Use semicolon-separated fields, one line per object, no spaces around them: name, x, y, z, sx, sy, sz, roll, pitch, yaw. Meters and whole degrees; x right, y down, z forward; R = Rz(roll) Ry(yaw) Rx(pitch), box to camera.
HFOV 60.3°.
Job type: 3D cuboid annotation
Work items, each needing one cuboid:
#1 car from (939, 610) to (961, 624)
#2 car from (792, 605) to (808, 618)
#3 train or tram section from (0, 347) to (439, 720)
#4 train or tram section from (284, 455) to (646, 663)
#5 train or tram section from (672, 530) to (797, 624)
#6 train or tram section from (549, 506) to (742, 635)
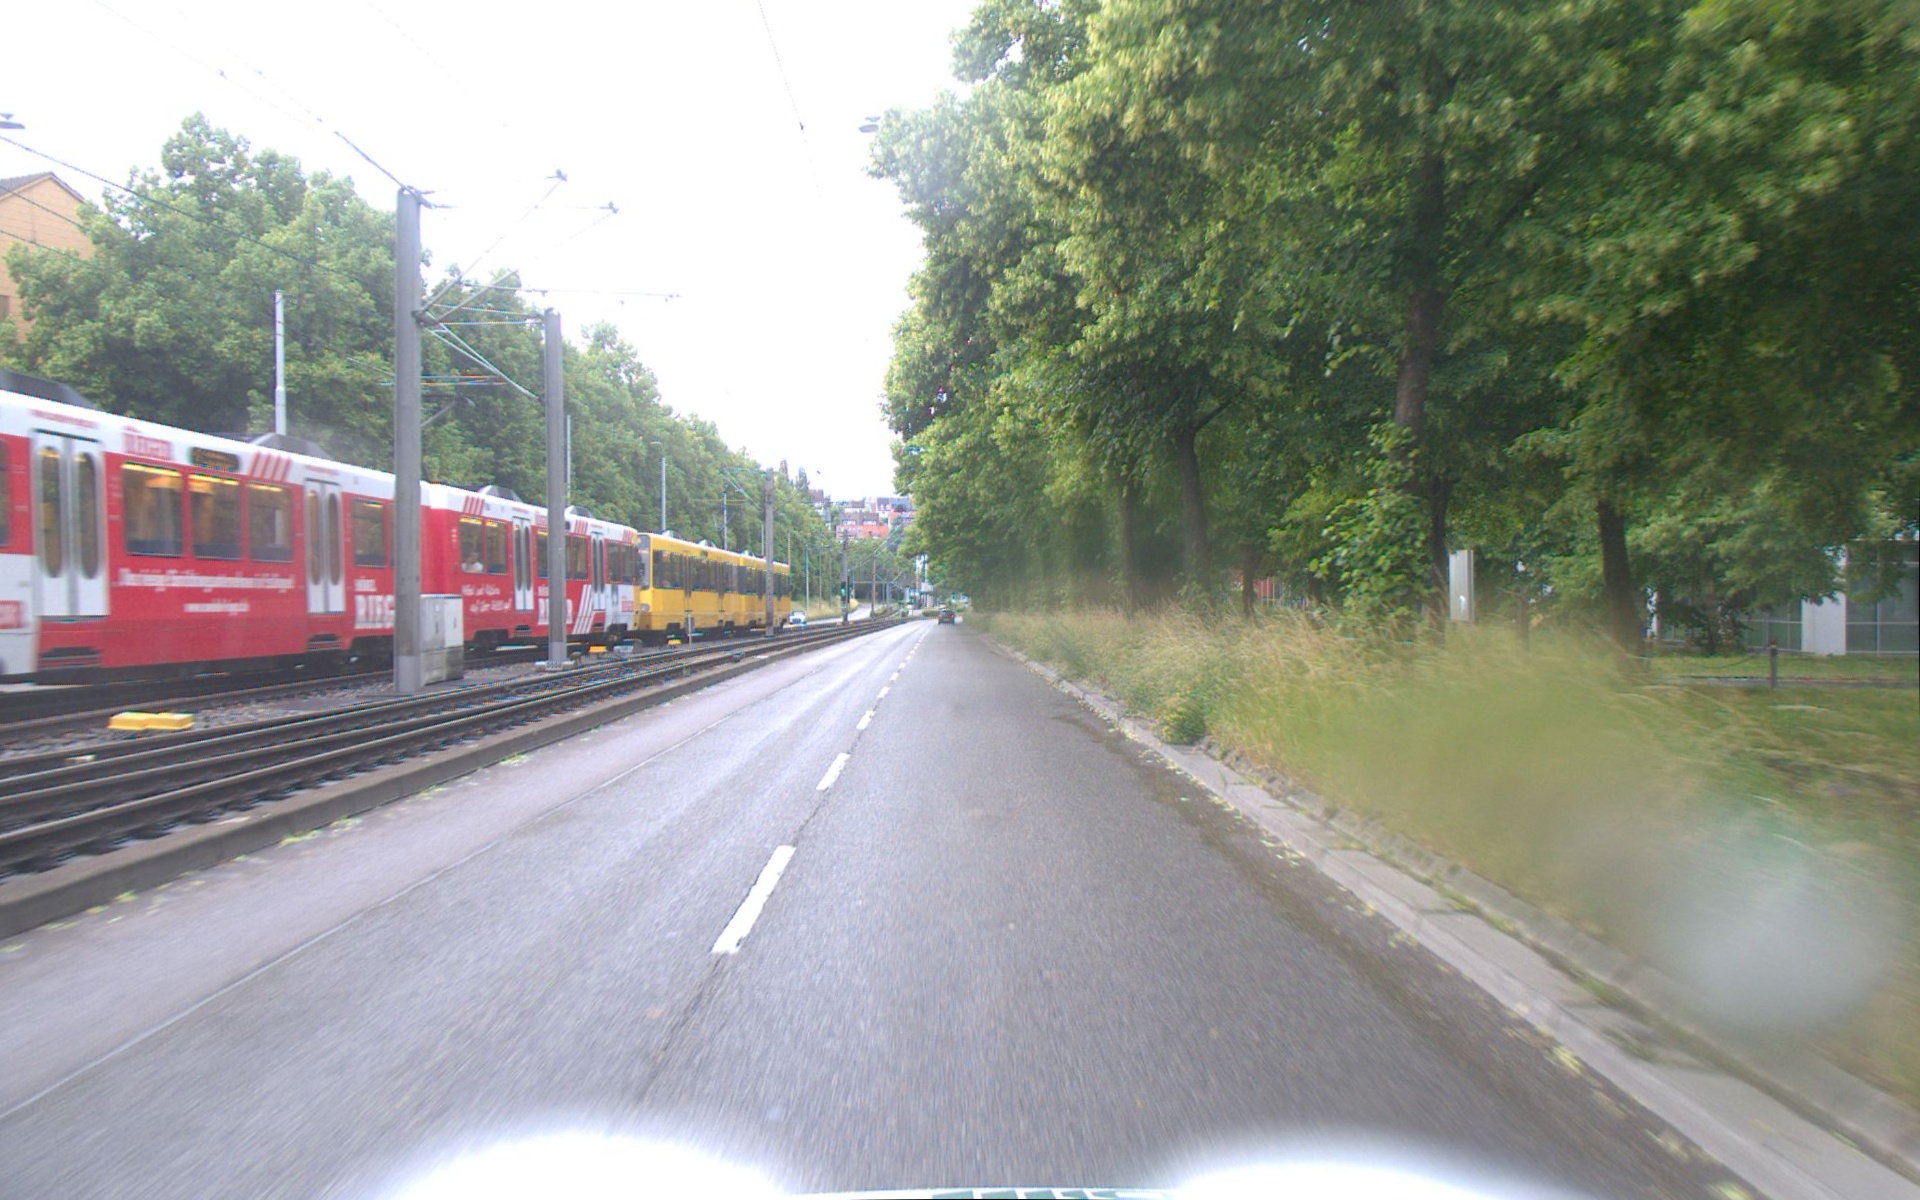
car;-1.051;1.703;167.045;2.149;1.352;3.999;1;1;-1
car;-17.718;1.266;183.185;1.446;1.461;3.909;-2;0;0
train or tram section;-11.346;-0.720;21.583;2.906;3.877;18.616;0;0;1
train or tram section;-11.025;-0.813;40.239;2.906;3.877;18.616;0;0;1
train or tram section;-10.319;-1.014;78.455;2.906;3.877;19.522;0;0;1
train or tram section;-10.685;-0.931;59.122;2.906;3.877;19.101;0;0;1
